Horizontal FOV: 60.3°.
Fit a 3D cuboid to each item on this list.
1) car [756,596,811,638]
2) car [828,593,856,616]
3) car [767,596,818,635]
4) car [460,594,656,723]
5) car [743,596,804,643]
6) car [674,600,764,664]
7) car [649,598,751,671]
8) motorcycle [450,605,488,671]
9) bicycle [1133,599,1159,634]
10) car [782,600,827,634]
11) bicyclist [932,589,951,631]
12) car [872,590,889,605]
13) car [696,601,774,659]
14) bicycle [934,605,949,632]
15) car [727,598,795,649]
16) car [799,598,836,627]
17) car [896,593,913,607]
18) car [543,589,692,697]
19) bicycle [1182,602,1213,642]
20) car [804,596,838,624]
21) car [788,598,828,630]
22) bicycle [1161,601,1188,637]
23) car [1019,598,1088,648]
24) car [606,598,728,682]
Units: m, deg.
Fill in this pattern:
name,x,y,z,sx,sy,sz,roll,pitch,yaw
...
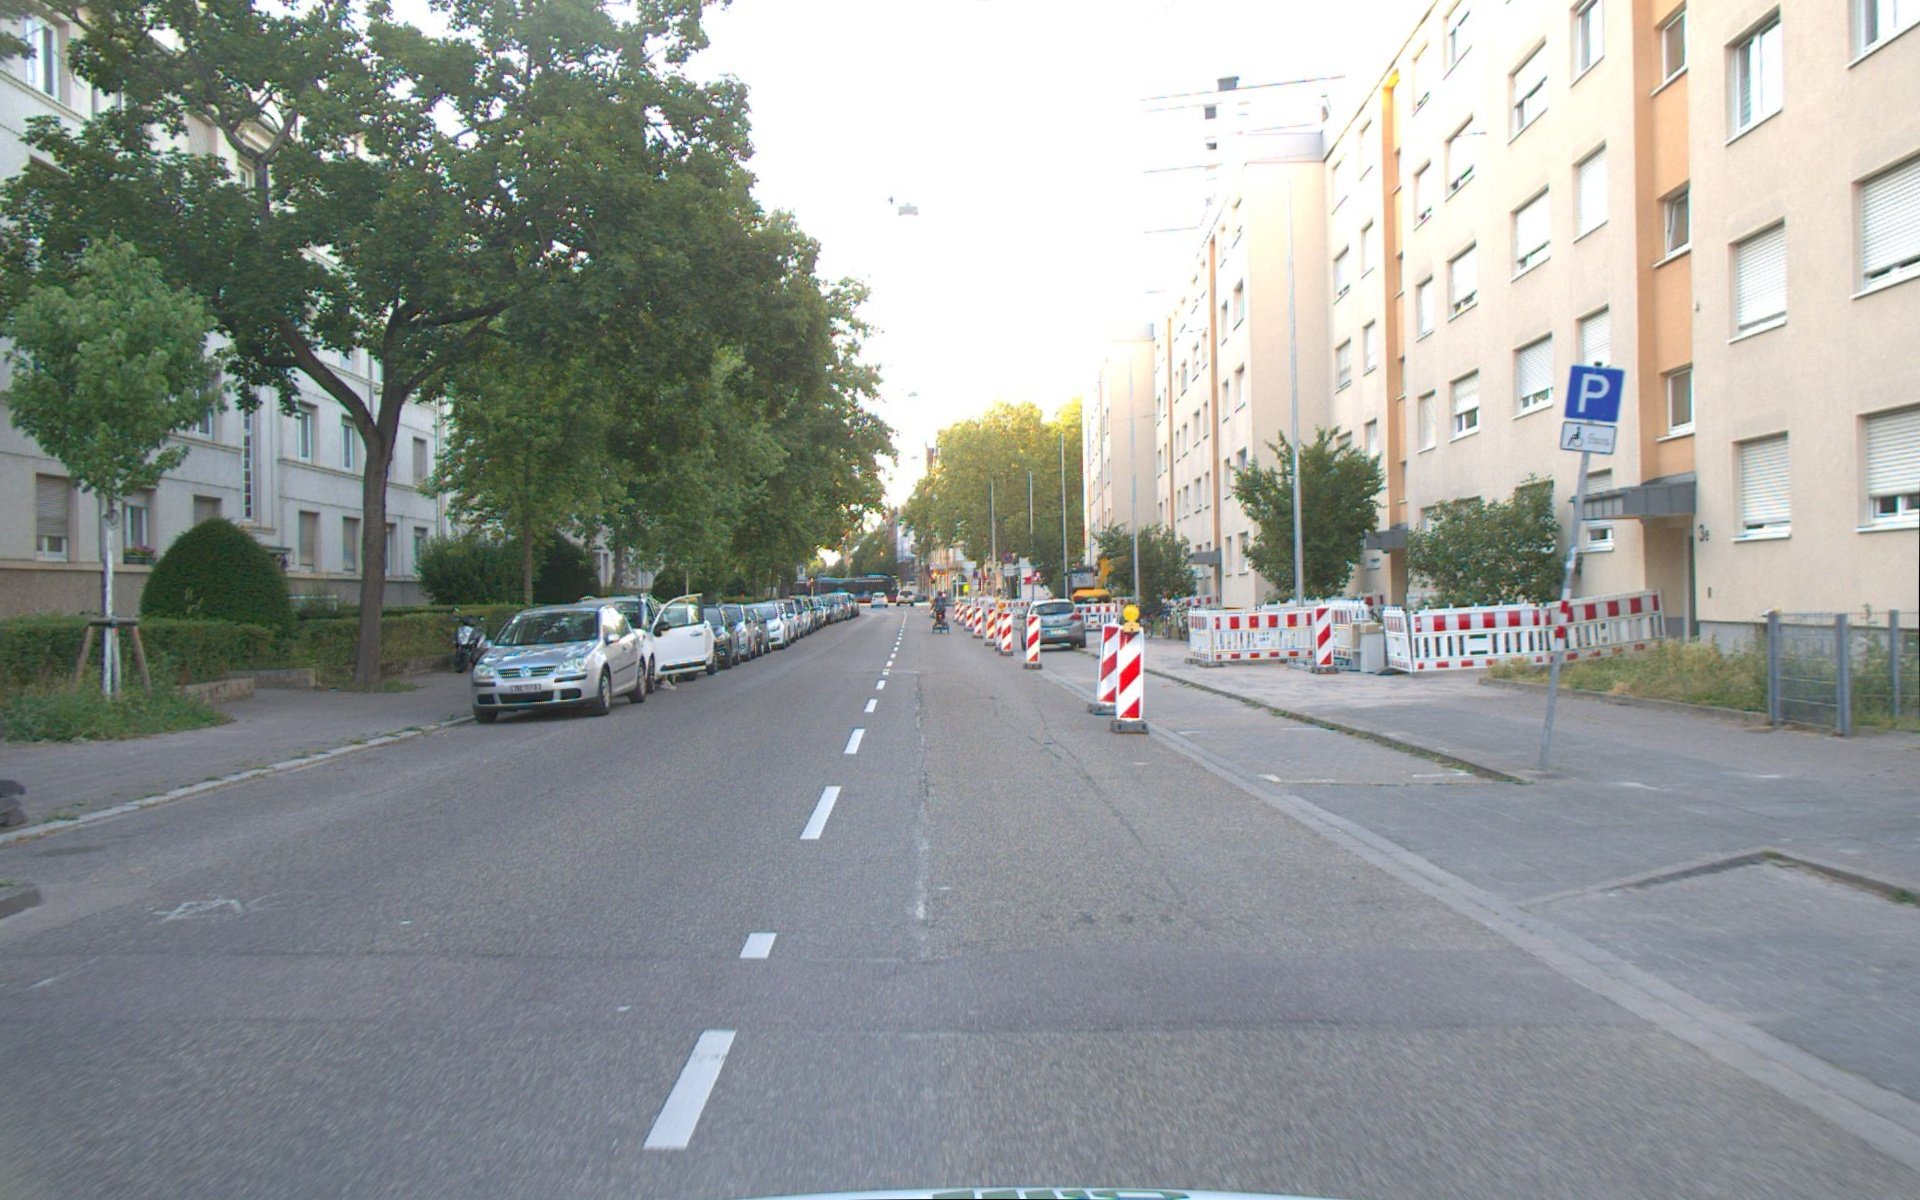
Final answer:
name,x,y,z,sx,sy,sz,roll,pitch,yaw
car,-6.822,0.648,64.112,1.721,1.468,3.453,-4,0,-1
car,-8.049,0.315,112.867,1.583,1.468,3.453,-4,0,-1
car,-6.937,0.616,68.840,1.721,1.468,3.453,-4,0,-1
car,-5.451,0.736,22.910,1.721,1.509,3.927,-4,0,-1
car,-6.583,0.668,58.601,1.721,1.468,3.453,-4,0,-1
car,-6.229,0.799,43.071,1.742,1.448,3.745,-4,0,-1
car,-5.947,0.750,38.230,1.721,1.468,3.927,-4,0,-1
motorcycle,-10.426,0.795,35.164,0.403,1.355,1.296,-1,0,-1
bicycle,6.221,0.548,55.400,0.604,1.126,2.235,-1,0,1
car,-7.232,0.778,77.297,1.721,1.468,3.453,-4,0,-1
bicyclist,-0.831,0.444,73.112,0.775,1.831,1.017,-1,0,-1
car,-8.263,-0.232,172.273,1.721,1.468,3.452,-4,0,-3
car,-6.414,0.818,47.402,1.721,1.468,3.453,-4,0,-1
bicycle,-0.831,0.816,72.798,0.628,1.134,3.055,-1,0,-1
car,-6.337,0.735,53.011,1.721,1.468,3.453,-4,0,-1
car,-7.792,0.680,90.640,1.721,1.468,3.453,-4,0,-1
car,-6.229,0.007,184.715,1.662,1.468,3.450,-4,0,-5
car,-5.879,0.701,28.807,1.721,1.631,3.927,-4,0,-1
bicycle,7.014,0.637,48.890,0.604,1.126,2.235,-1,0,1
car,-8.005,0.544,95.480,1.619,1.468,3.453,-4,0,-1
car,-7.713,0.712,84.139,1.721,1.468,3.453,-4,0,-1
bicycle,7.097,0.615,54.694,0.604,1.126,2.235,-1,0,1
car,2.800,0.669,50.127,1.743,1.414,3.999,-1,0,-1
car,-5.839,0.762,33.329,1.721,1.468,3.927,-4,0,-1
